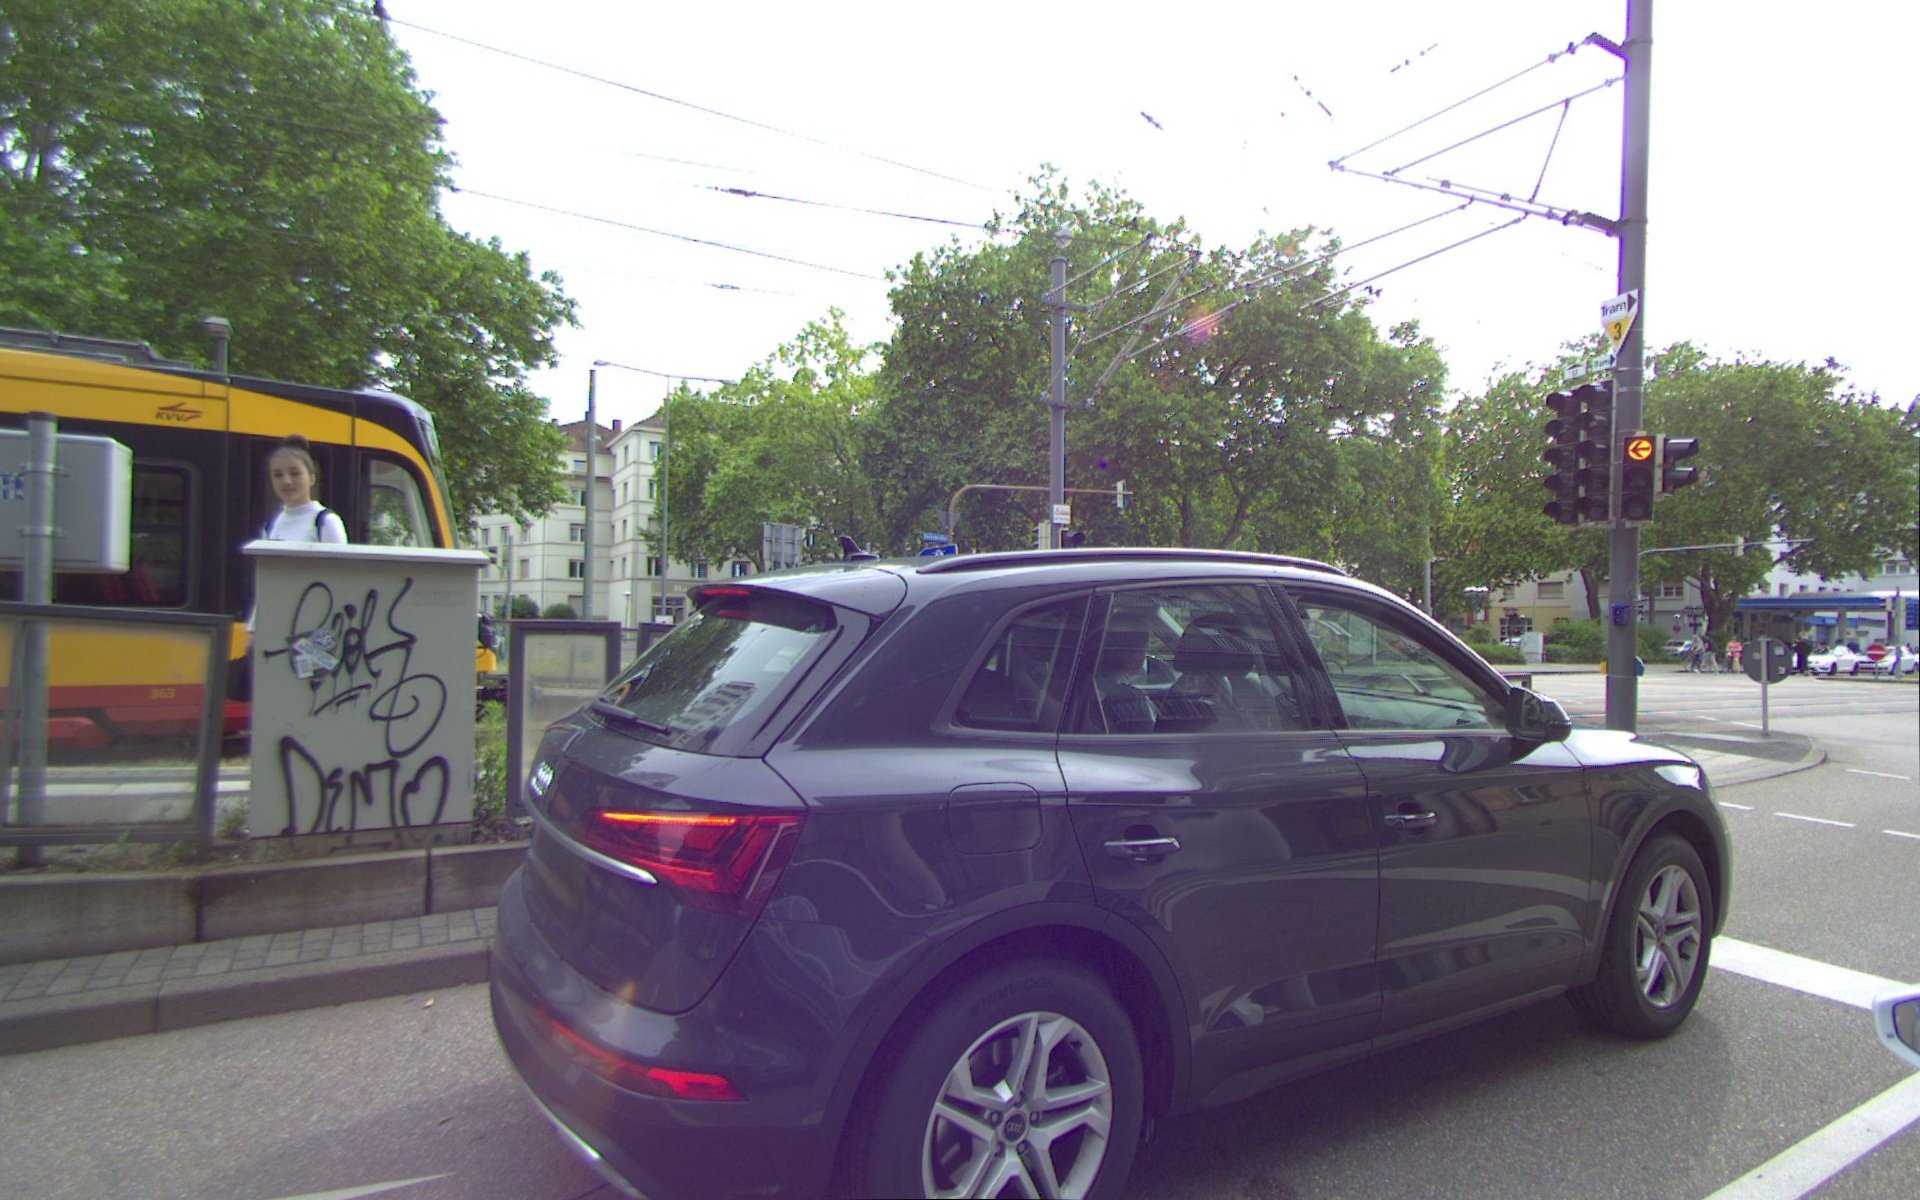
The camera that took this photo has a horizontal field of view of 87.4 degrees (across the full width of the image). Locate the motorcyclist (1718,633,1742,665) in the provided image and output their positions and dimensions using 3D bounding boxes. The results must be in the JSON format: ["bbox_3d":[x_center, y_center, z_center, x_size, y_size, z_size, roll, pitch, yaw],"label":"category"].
[{"bbox_3d":[37.239,2.363,48.566,0.863,1.540,0.617,2,-1,-30],"label":"motorcyclist"}]

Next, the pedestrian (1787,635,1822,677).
[{"bbox_3d":[36.146,2.388,42.998,0.864,1.735,0.868,2,-1,-28],"label":"pedestrian"}]

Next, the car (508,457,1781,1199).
[{"bbox_3d":[0.830,0.647,3.453,4.177,1.658,1.725,2,0,-30],"label":"car"}]

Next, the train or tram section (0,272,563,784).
[{"bbox_3d":[-11.071,-0.650,7.075,15.026,3.802,3.314,2,0,-31],"label":"train or tram section"}]

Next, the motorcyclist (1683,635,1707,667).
[{"bbox_3d":[35.808,2.479,48.940,0.863,1.540,0.617,2,-1,-30],"label":"motorcyclist"}]

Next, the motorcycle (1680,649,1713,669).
[{"bbox_3d":[35.948,2.858,49.022,1.928,0.941,0.604,2,-1,-30],"label":"motorcycle"}]

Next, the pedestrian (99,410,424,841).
[{"bbox_3d":[-3.126,0.102,4.550,0.709,1.692,0.977,2,0,31],"label":"pedestrian"}]

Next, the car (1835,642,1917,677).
[{"bbox_3d":[46.982,3.020,51.516,3.953,1.615,1.984,2,0,-30],"label":"car"}]

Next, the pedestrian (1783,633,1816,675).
[{"bbox_3d":[35.594,2.292,42.604,0.682,1.735,0.864,1,-1,-26],"label":"pedestrian"}]

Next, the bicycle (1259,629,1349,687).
[{"bbox_3d":[8.475,1.407,24.802,1.962,1.289,0.749,2,0,31],"label":"bicycle"}]

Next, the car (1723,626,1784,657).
[{"bbox_3d":[54.698,2.880,69.227,3.953,2.040,1.984,2,-1,-30],"label":"car"}]

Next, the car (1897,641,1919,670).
[{"bbox_3d":[52.785,3.032,54.598,3.593,1.497,1.649,2,0,-29],"label":"car"}]

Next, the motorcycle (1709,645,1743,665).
[{"bbox_3d":[36.933,2.664,48.427,1.928,0.941,0.604,2,-1,-30],"label":"motorcycle"}]

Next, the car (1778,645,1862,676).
[{"bbox_3d":[41.369,2.906,48.324,4.025,1.338,1.739,2,0,-29],"label":"car"}]

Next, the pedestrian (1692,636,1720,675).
[{"bbox_3d":[33.256,2.480,44.775,0.732,1.713,0.681,2,0,-25],"label":"pedestrian"}]

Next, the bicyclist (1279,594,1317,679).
[{"bbox_3d":[8.386,0.897,24.910,0.682,2.040,0.781,2,0,32],"label":"bicyclist"}]

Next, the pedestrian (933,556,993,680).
[{"bbox_3d":[0.046,0.285,16.467,0.658,1.976,0.732,2,0,-30],"label":"pedestrian"}]
